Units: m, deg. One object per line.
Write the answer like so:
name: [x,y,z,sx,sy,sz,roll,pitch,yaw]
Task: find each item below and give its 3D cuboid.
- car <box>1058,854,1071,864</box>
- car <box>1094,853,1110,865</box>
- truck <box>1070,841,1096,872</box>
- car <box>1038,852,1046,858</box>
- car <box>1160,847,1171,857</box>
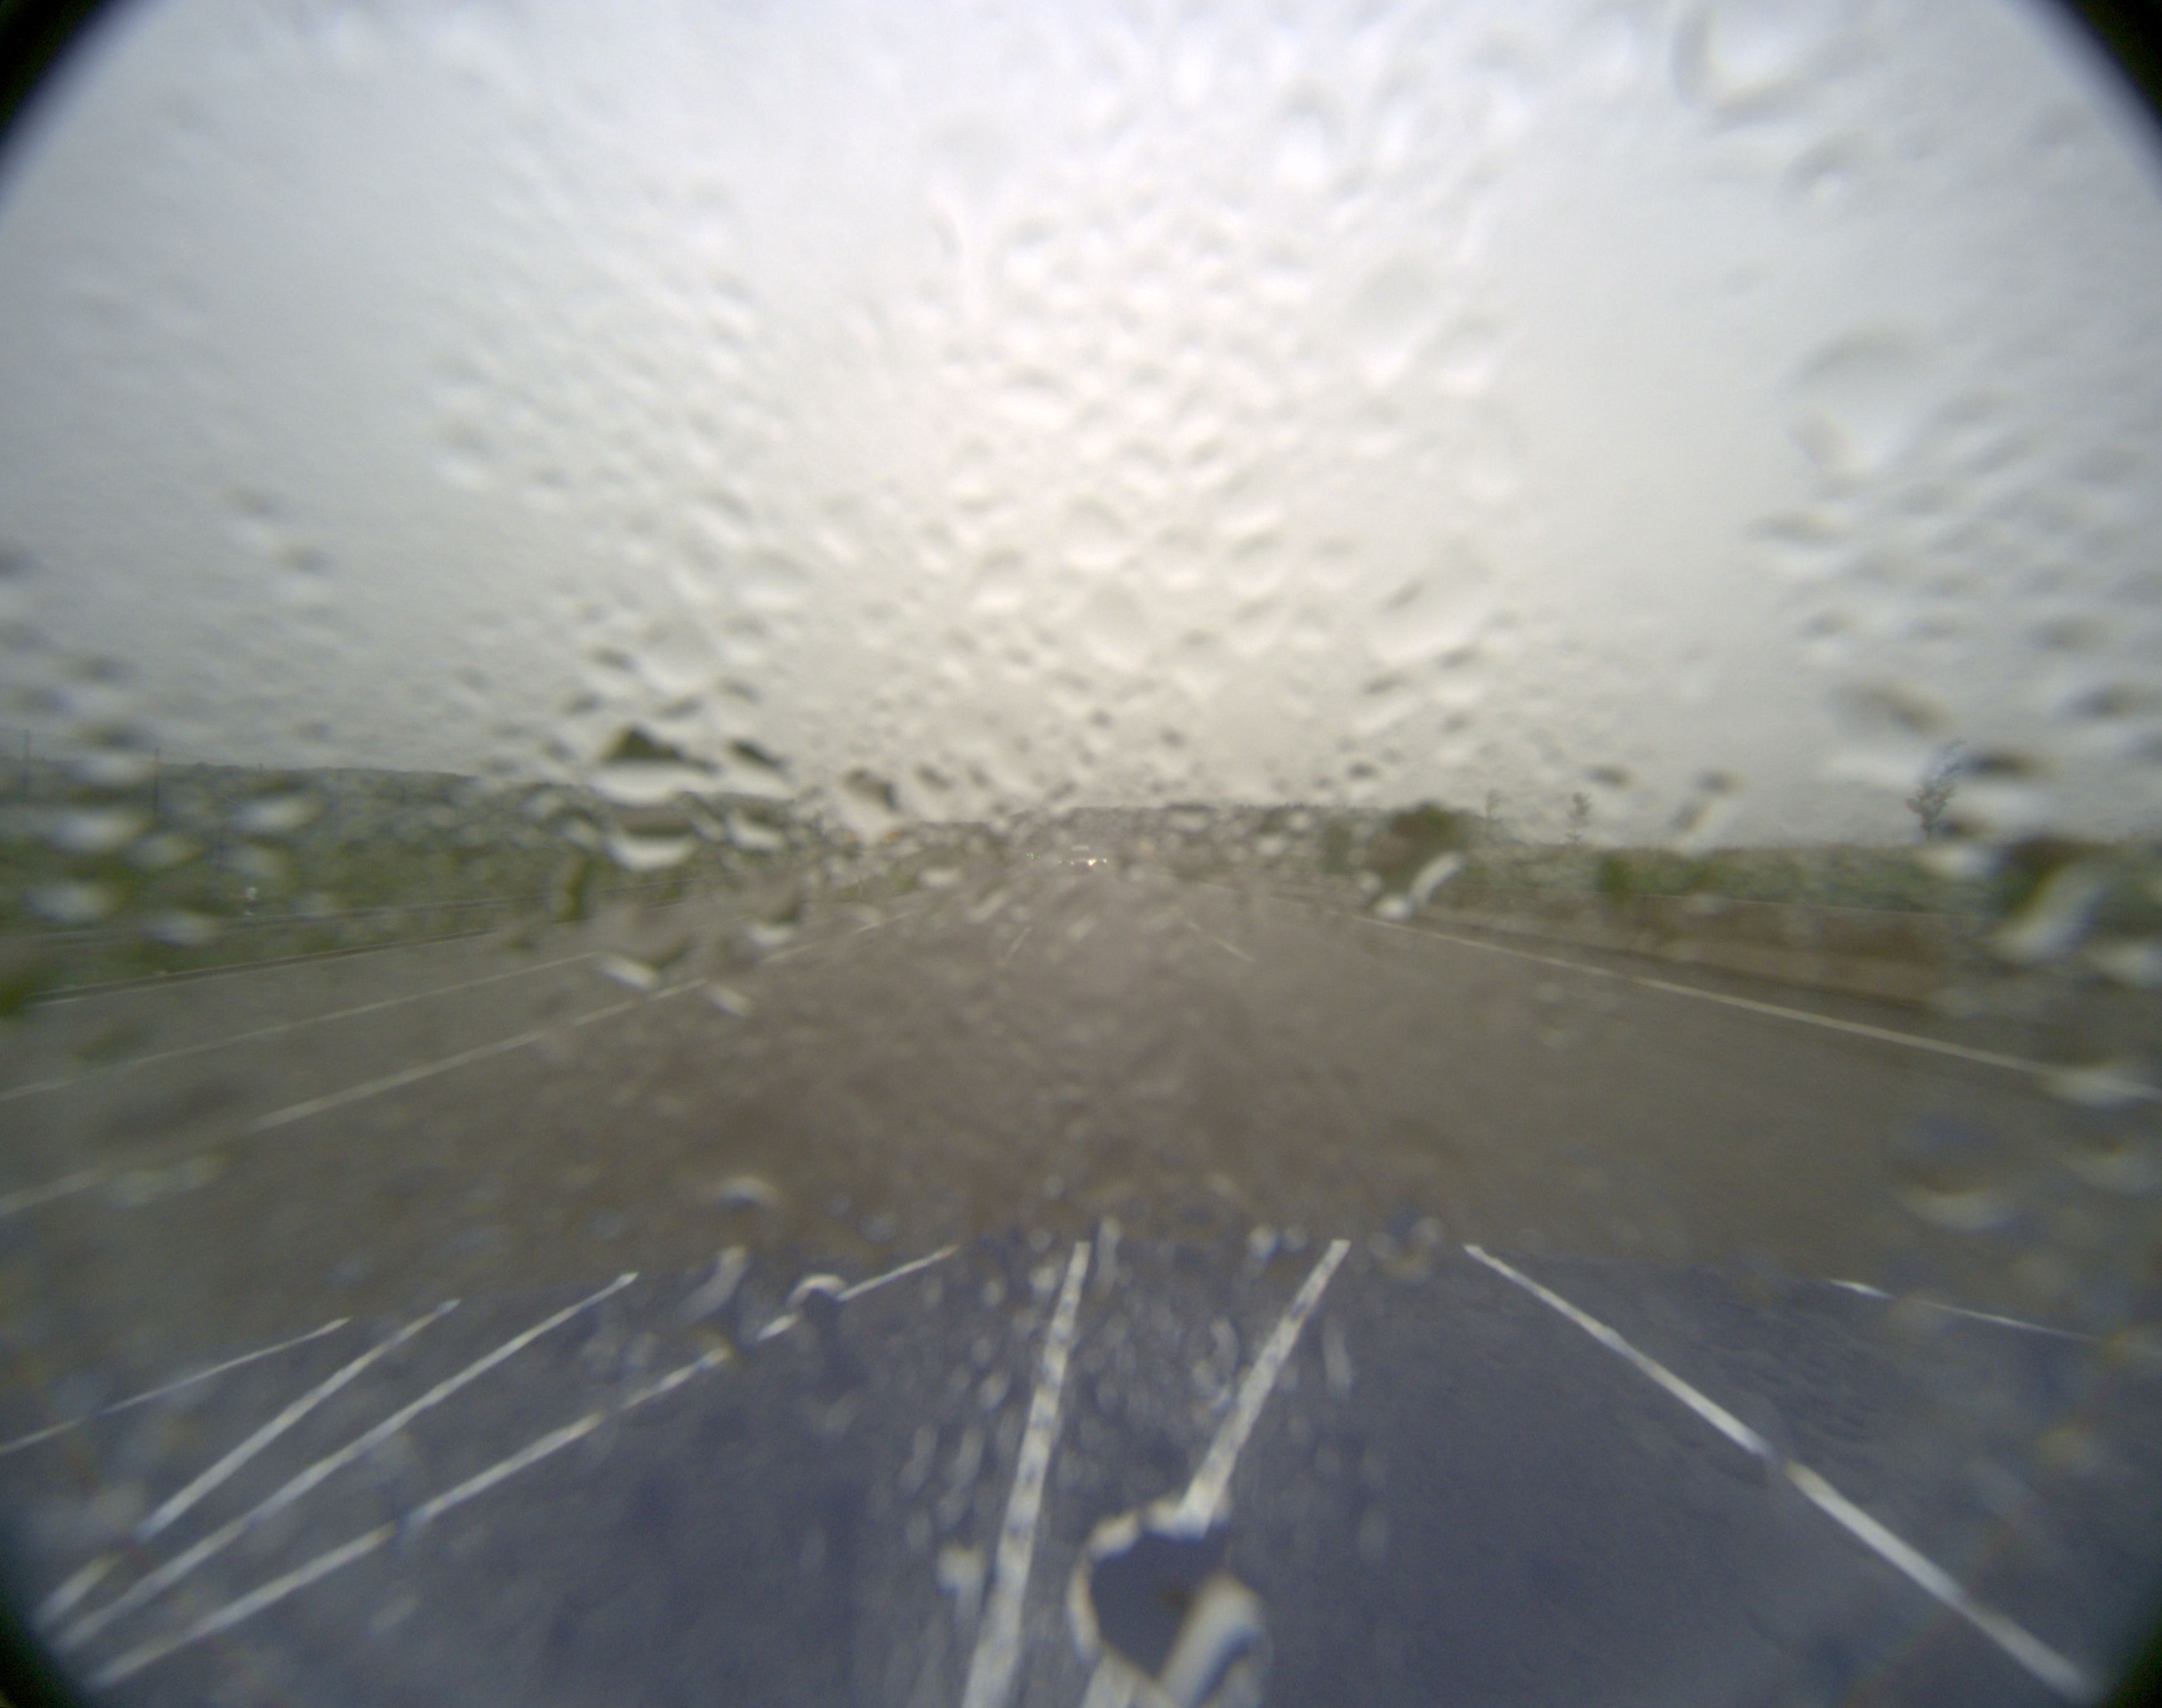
car: [-2.652,0.809,122.067,1.998,1.521,4.000,-1,0,1]
car: [2.862,0.680,104.262,1.999,1.608,3.999,-1,0,-2]
truck: [0.241,0.141,71.687,1.998,2.699,7.999,-2,1,2]
car: [-10.527,0.188,207.140,1.999,1.543,3.999,-2,0,-2]
car: [15.538,-0.340,139.374,1.499,1.717,3.172,-2,0,-1]
